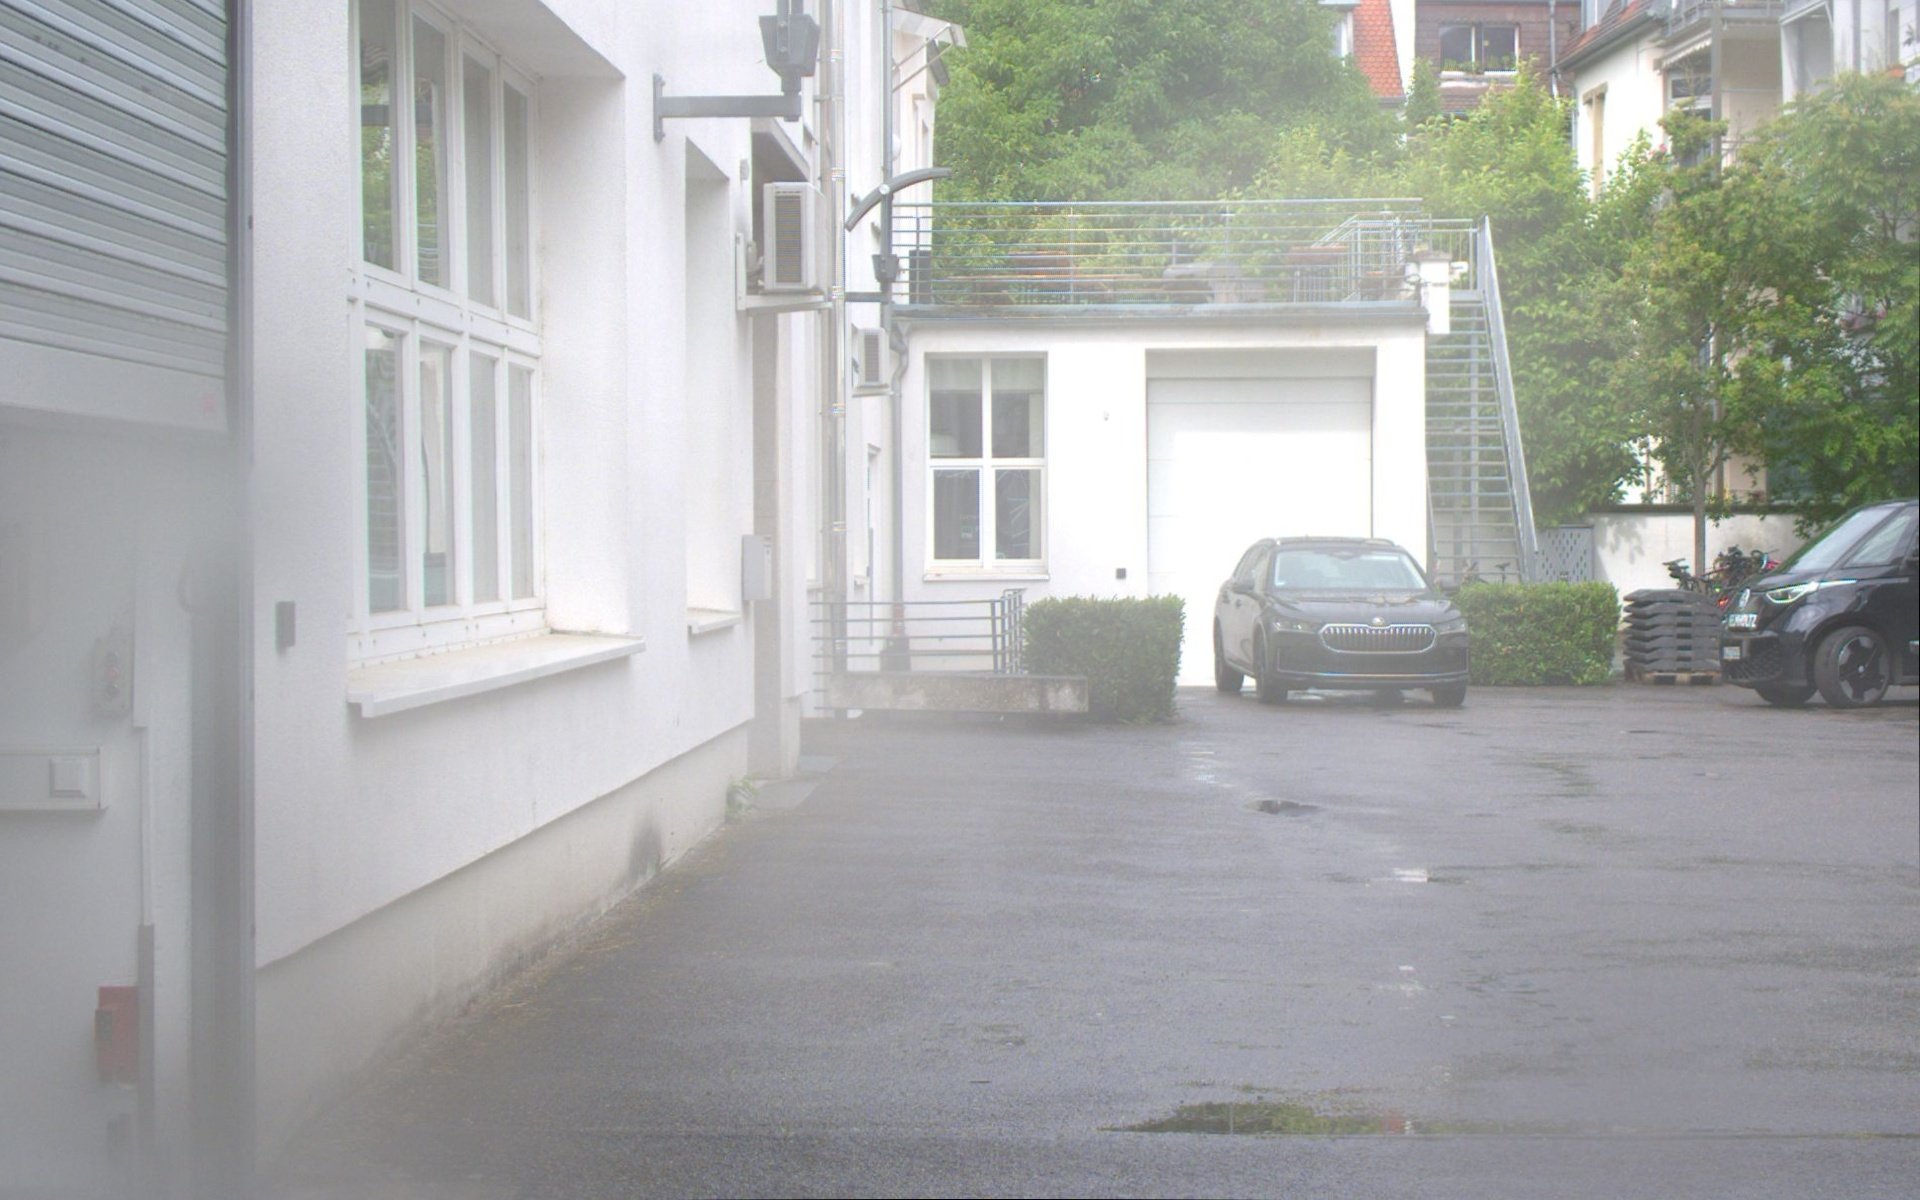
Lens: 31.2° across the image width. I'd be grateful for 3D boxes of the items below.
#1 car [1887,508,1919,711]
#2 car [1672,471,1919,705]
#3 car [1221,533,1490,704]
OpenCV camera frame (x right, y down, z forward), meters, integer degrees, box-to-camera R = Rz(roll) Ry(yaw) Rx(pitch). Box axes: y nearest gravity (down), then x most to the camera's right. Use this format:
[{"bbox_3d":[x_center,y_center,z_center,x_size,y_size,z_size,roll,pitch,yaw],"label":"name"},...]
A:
[{"bbox_3d":[9.883,0.028,28.423,3.909,1.681,1.817,-2,1,1],"label":"car"},{"bbox_3d":[9.096,-0.181,31.204,4.634,1.996,2.226,-2,2,-8],"label":"car"},{"bbox_3d":[3.511,0.115,31.190,1.979,1.439,4.000,0,1,0],"label":"car"}]
